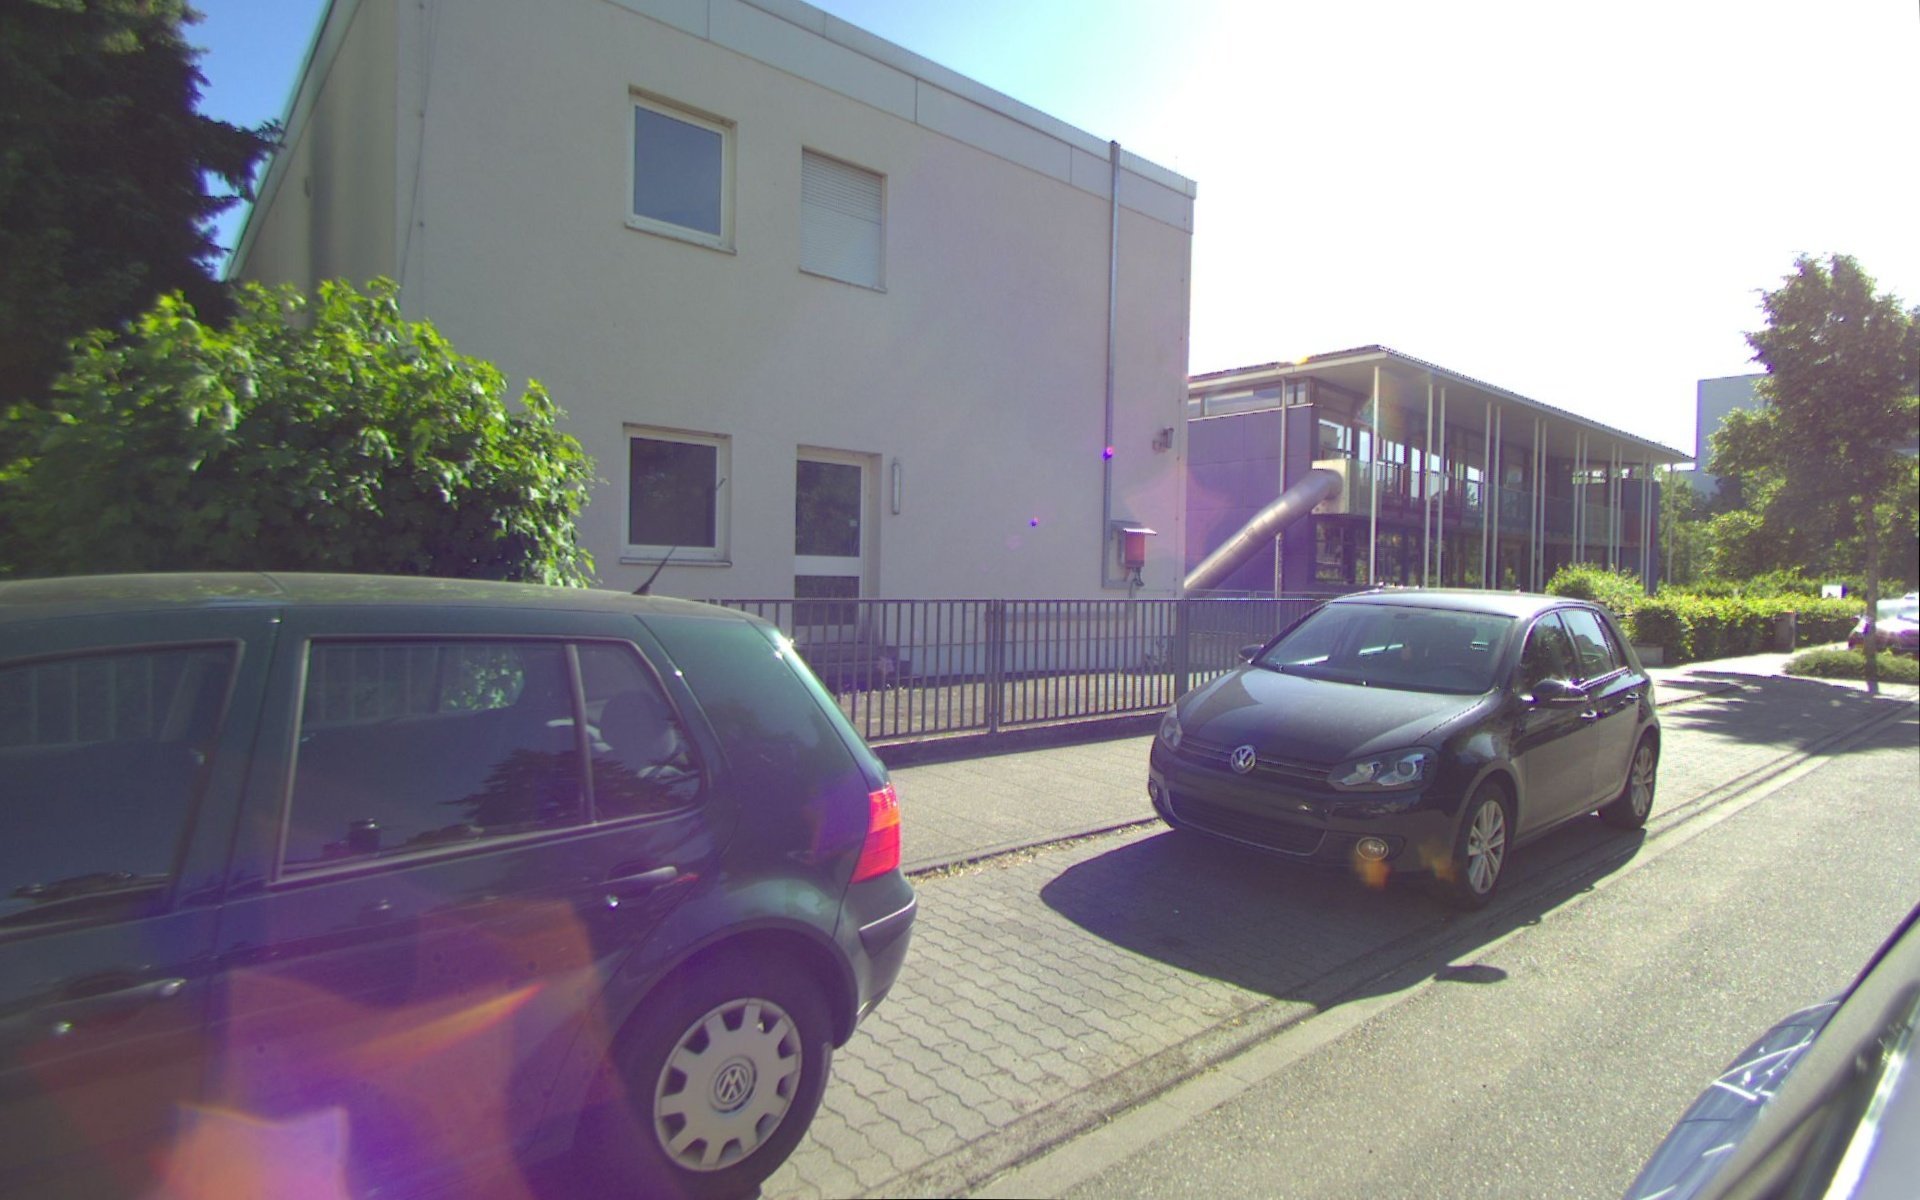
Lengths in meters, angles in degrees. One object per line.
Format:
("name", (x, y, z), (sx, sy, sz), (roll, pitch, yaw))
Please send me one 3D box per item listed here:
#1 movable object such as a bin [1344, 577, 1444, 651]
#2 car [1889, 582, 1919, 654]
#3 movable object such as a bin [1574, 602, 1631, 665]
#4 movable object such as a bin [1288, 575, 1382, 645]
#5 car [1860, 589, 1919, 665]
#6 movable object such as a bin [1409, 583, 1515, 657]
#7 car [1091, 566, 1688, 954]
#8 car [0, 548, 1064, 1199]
("movable object such as a bin", (9.222, 0.275, 21.498), (1.602, 1.466, 1.369), (0, 1, -40))
("car", (24.864, 0.456, 25.244), (4.333, 1.703, 1.905), (0, 3, -40))
("movable object such as a bin", (11.716, 0.595, 18.441), (0.962, 1.083, 0.633), (-1, 1, -41))
("movable object such as a bin", (8.386, 0.198, 22.657), (1.602, 1.466, 1.333), (0, 1, -40))
("car", (20.744, 0.555, 21.717), (3.780, 1.522, 1.678), (0, 2, -42))
("movable object such as a bin", (10.094, 0.369, 20.364), (1.602, 1.374, 1.369), (0, 2, -40))
("car", (2.758, 0.622, 6.048), (3.932, 1.535, 1.786), (0, 2, -42))
("car", (-1.935, 0.626, 2.184), (4.346, 1.439, 1.751), (-1, 4, -40))
